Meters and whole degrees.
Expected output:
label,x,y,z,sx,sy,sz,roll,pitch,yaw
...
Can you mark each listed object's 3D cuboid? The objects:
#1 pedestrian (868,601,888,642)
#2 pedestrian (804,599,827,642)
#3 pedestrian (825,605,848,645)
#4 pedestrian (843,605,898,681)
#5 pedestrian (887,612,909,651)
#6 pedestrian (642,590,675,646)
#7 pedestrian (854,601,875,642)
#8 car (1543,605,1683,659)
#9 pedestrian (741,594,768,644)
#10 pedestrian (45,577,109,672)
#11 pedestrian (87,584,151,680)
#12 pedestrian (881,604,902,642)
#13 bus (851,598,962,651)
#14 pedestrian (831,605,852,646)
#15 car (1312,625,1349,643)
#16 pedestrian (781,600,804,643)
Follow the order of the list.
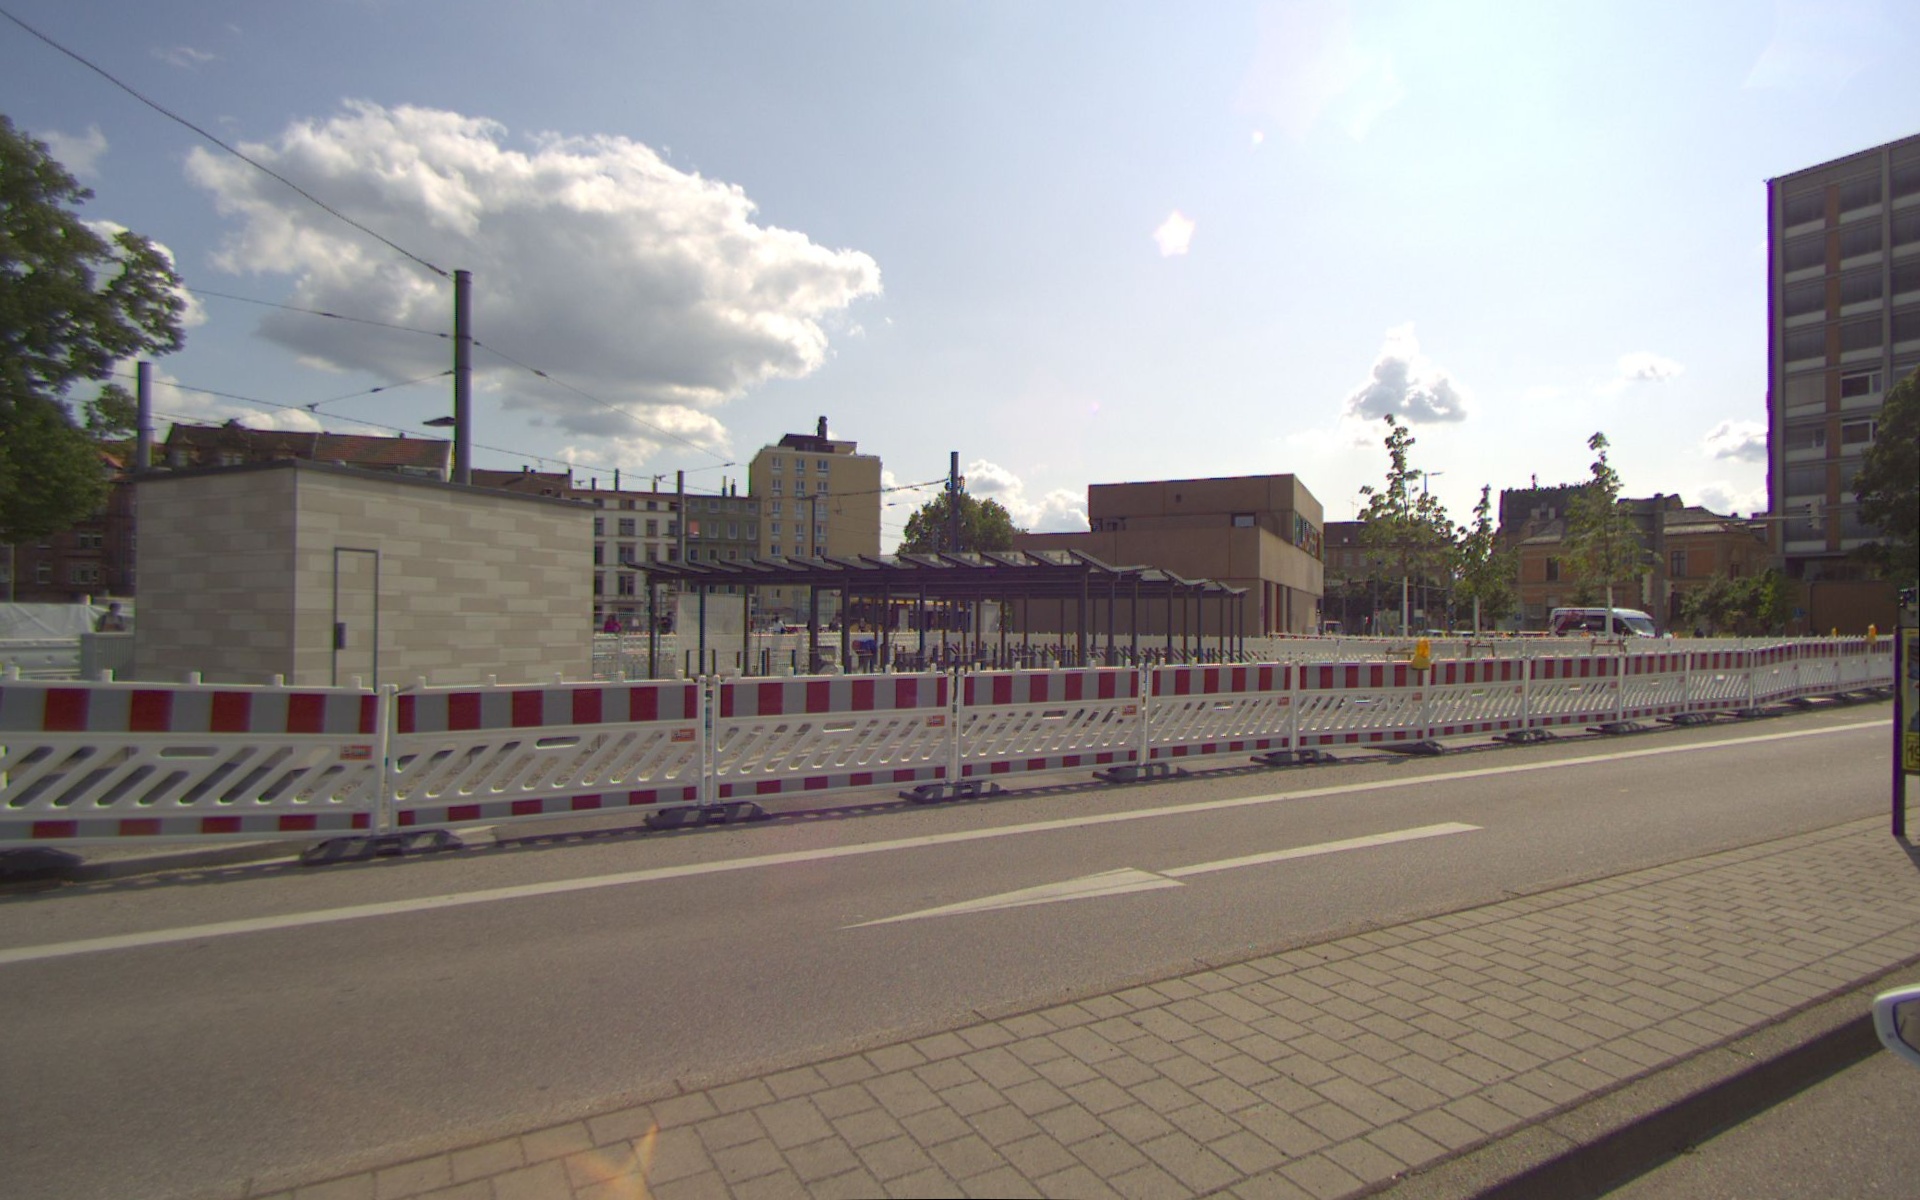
label,x,y,z,sx,sy,sz,roll,pitch,yaw
pedestrian,-4.157,1.096,51.010,0.925,2.040,0.731,1,-1,0
pedestrian,-6.876,0.971,47.756,0.925,2.040,0.731,1,-1,0
pedestrian,-6.360,1.296,51.551,0.933,2.040,0.725,2,-1,-31
pedestrian,-2.225,1.056,25.017,0.918,1.813,1.179,1,-1,21
pedestrian,-3.272,1.657,52.952,0.924,2.040,0.731,1,-1,14
pedestrian,-11.135,0.657,37.100,0.925,2.040,0.731,1,-1,0
pedestrian,-4.767,1.067,50.255,0.925,2.040,0.731,1,-1,0
car,30.268,1.494,46.828,2.261,2.349,5.579,0,-2,-11
pedestrian,-8.535,0.808,41.681,0.925,2.040,0.731,1,-1,0
pedestrian,-19.450,0.538,22.139,0.926,2.040,0.730,1,-1,27
pedestrian,-18.418,0.690,22.010,0.926,2.040,0.730,1,-1,27
pedestrian,-3.672,1.232,54.075,0.924,2.040,0.731,1,-1,14
bus,-3.132,1.536,63.126,2.384,3.022,10.536,0,-1,24
pedestrian,-5.919,1.278,50.334,0.925,2.040,0.731,1,-1,0
car,37.752,3.454,102.466,2.015,1.713,3.731,0,-2,-8
pedestrian,-7.985,1.017,48.019,0.925,2.040,0.731,1,-1,0
